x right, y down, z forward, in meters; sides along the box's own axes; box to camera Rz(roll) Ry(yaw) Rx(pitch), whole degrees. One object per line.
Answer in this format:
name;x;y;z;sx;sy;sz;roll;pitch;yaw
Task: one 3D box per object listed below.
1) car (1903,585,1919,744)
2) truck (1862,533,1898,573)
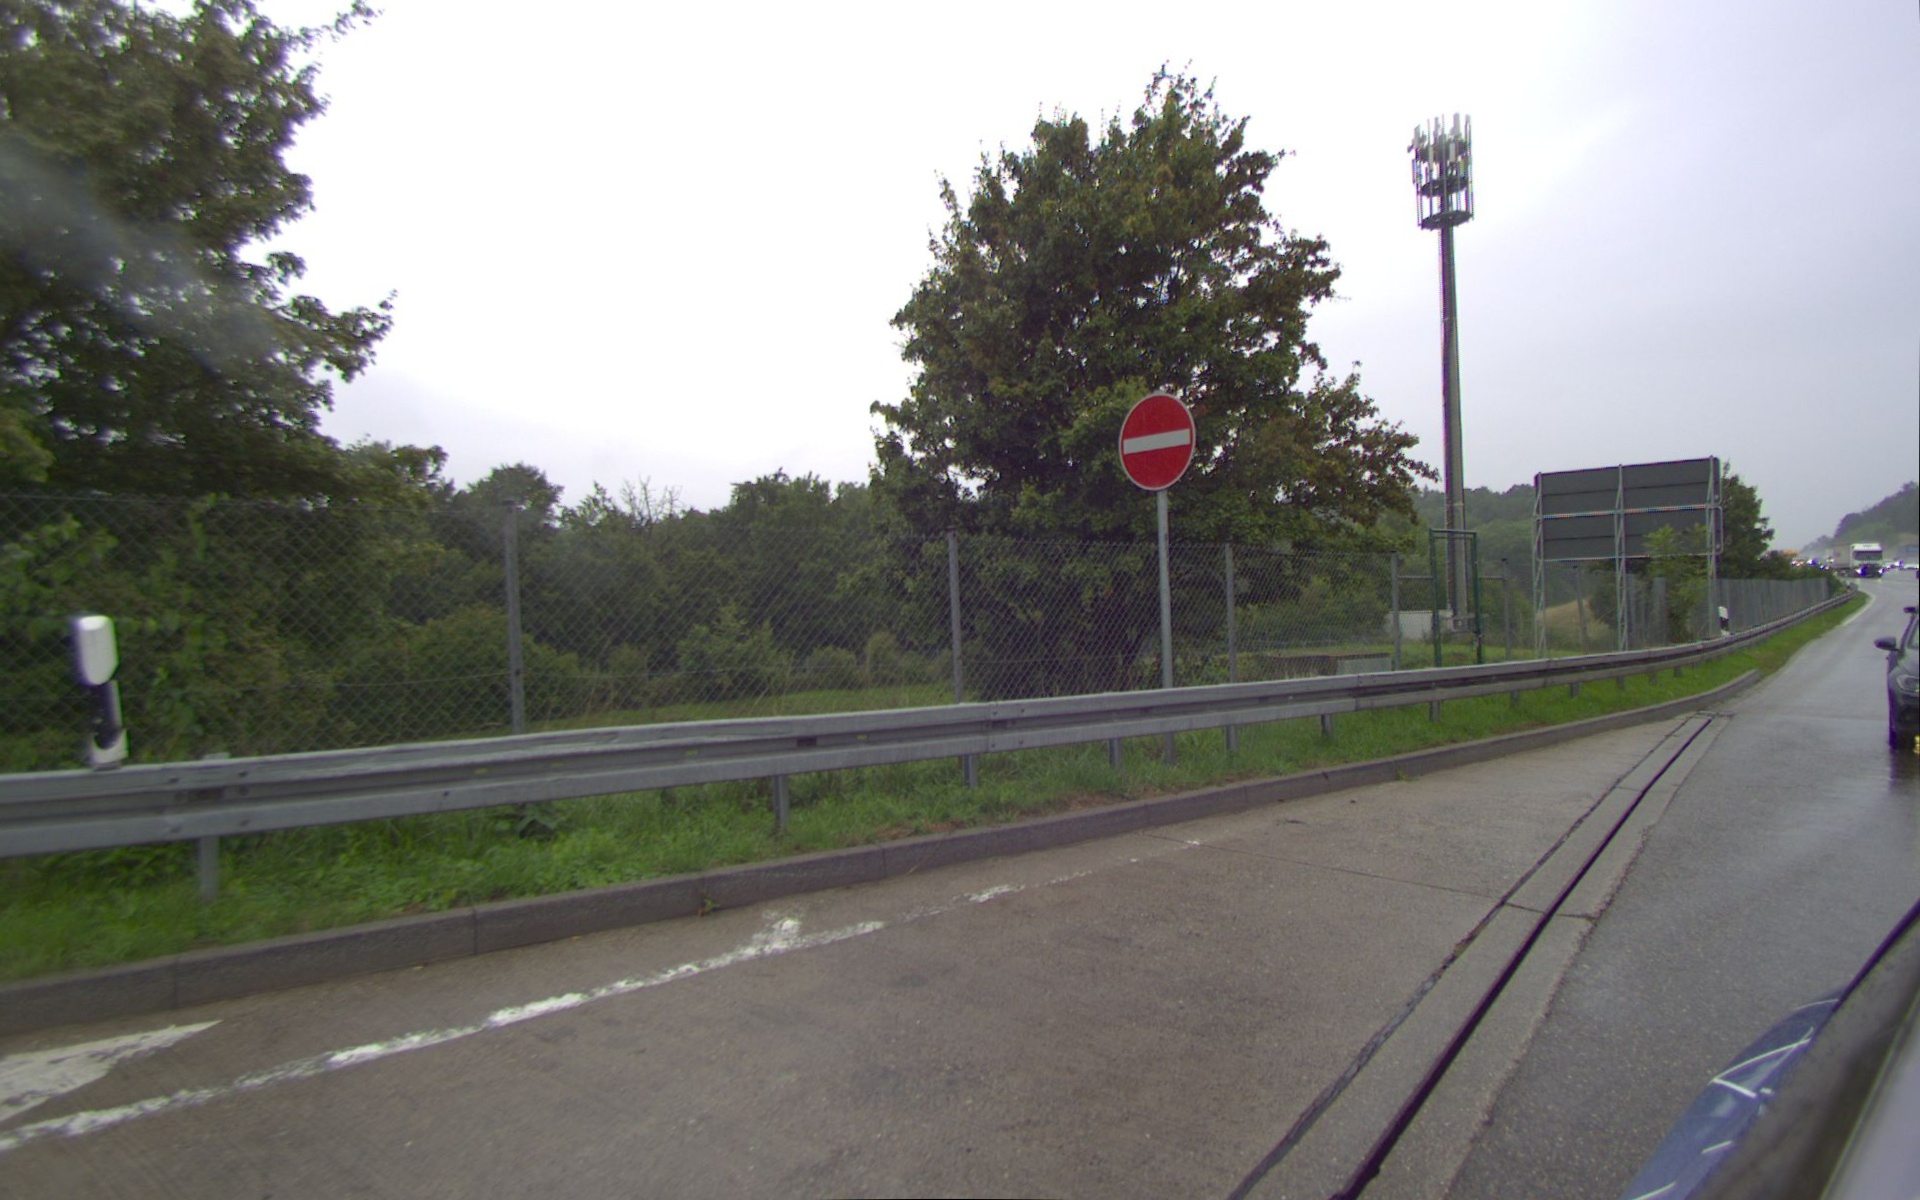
car;10.802;0.574;10.332;1.665;1.420;4.196;0;1;43
truck;103.564;-5.232;114.011;2.586;4.198;5.154;-5;-2;41
